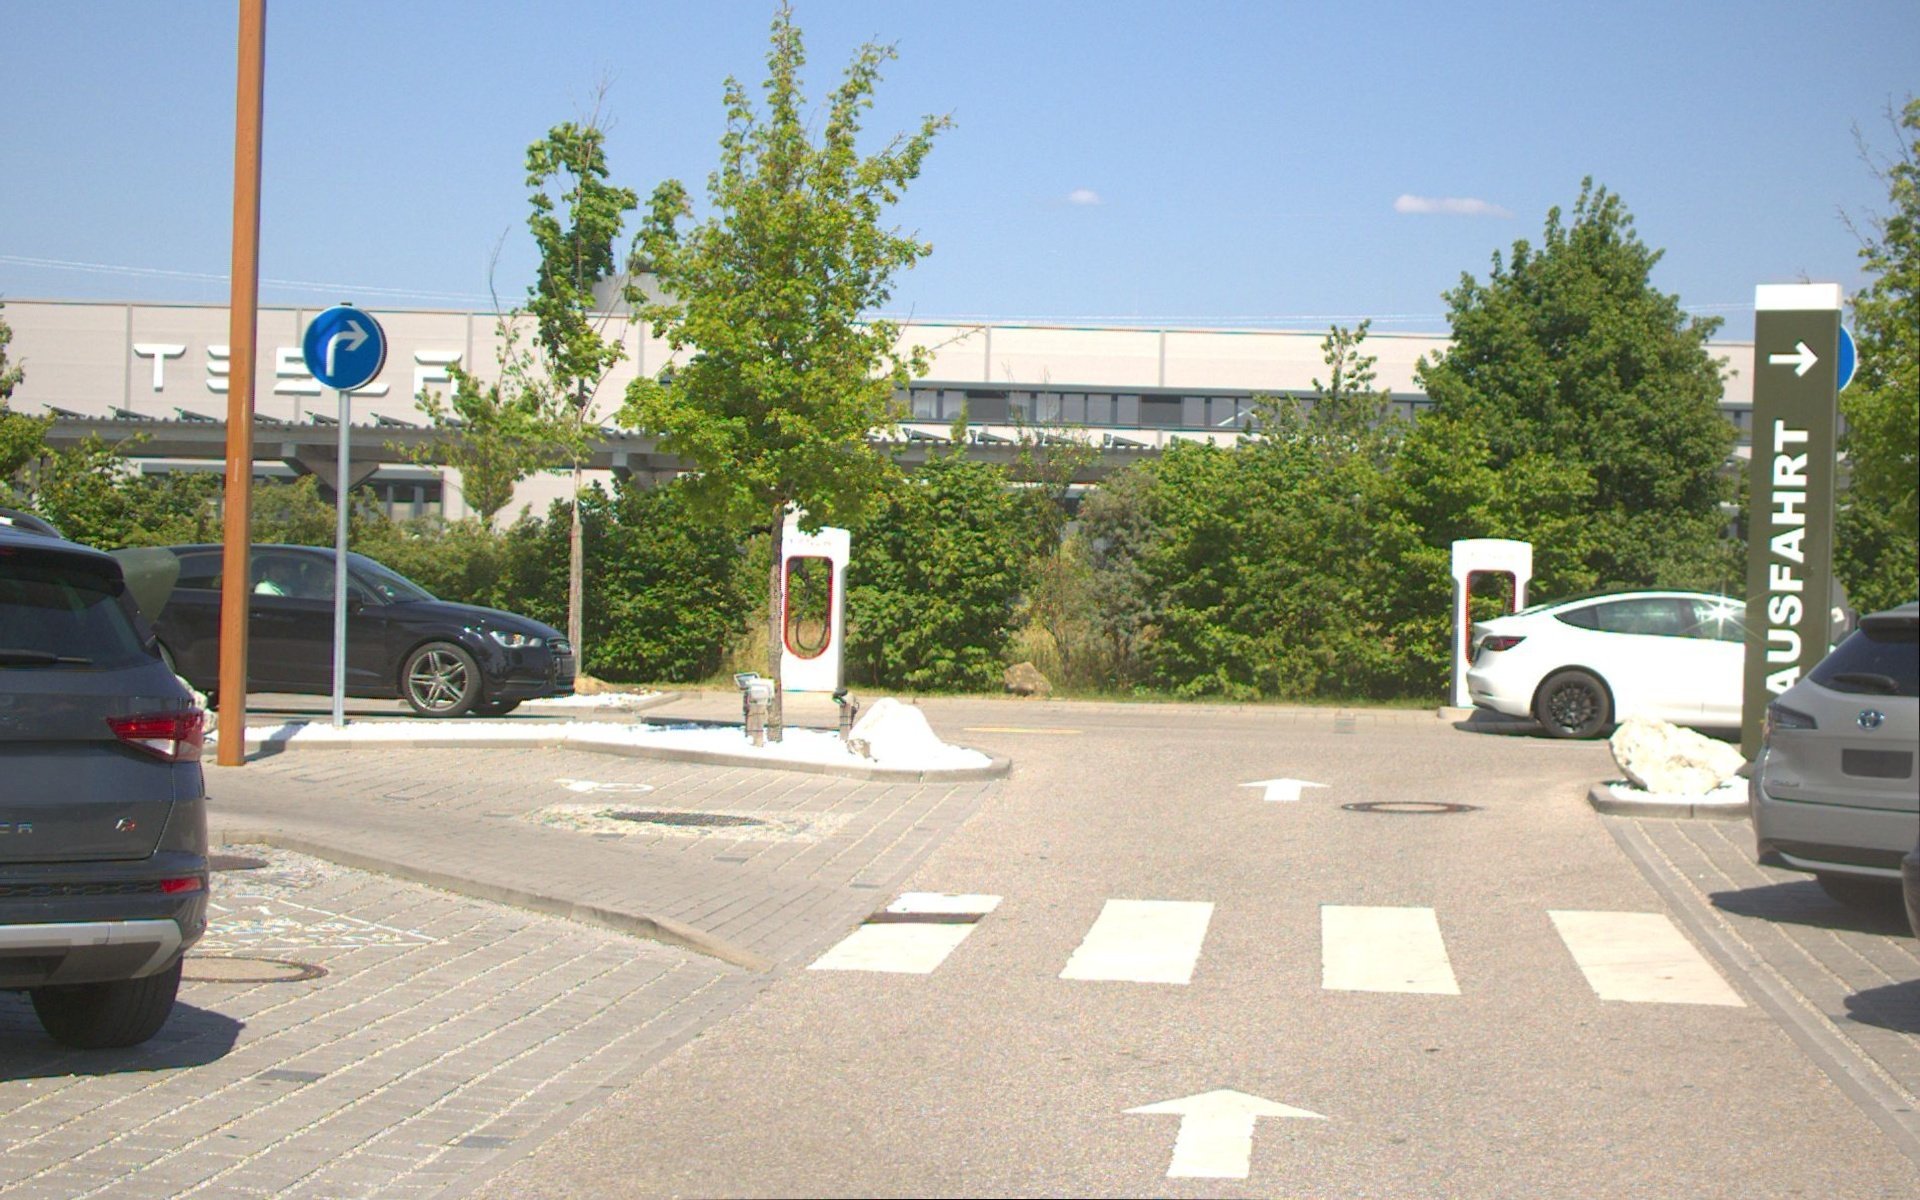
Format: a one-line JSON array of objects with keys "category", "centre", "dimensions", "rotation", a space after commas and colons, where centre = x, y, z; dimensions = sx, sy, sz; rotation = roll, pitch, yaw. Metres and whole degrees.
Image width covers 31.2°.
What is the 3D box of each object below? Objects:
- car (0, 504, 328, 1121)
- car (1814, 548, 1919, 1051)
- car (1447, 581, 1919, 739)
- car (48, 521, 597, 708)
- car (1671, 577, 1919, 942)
[{"category": "car", "centre": [-3.835, 0.447, 10.590], "dimensions": [1.785, 1.597, 4.226], "rotation": [3, 1, -40]}, {"category": "car", "centre": [4.888, 0.663, 11.804], "dimensions": [3.988, 1.588, 1.811], "rotation": [1, 1, -41]}, {"category": "car", "centre": [6.944, 0.551, 32.913], "dimensions": [4.435, 1.373, 1.822], "rotation": [1, 1, 6]}, {"category": "car", "centre": [-5.319, 0.141, 28.964], "dimensions": [4.201, 1.436, 1.698], "rotation": [1, -2, 5]}, {"category": "car", "centre": [5.501, 0.636, 15.455], "dimensions": [4.648, 1.442, 1.835], "rotation": [0, 1, -36]}]
